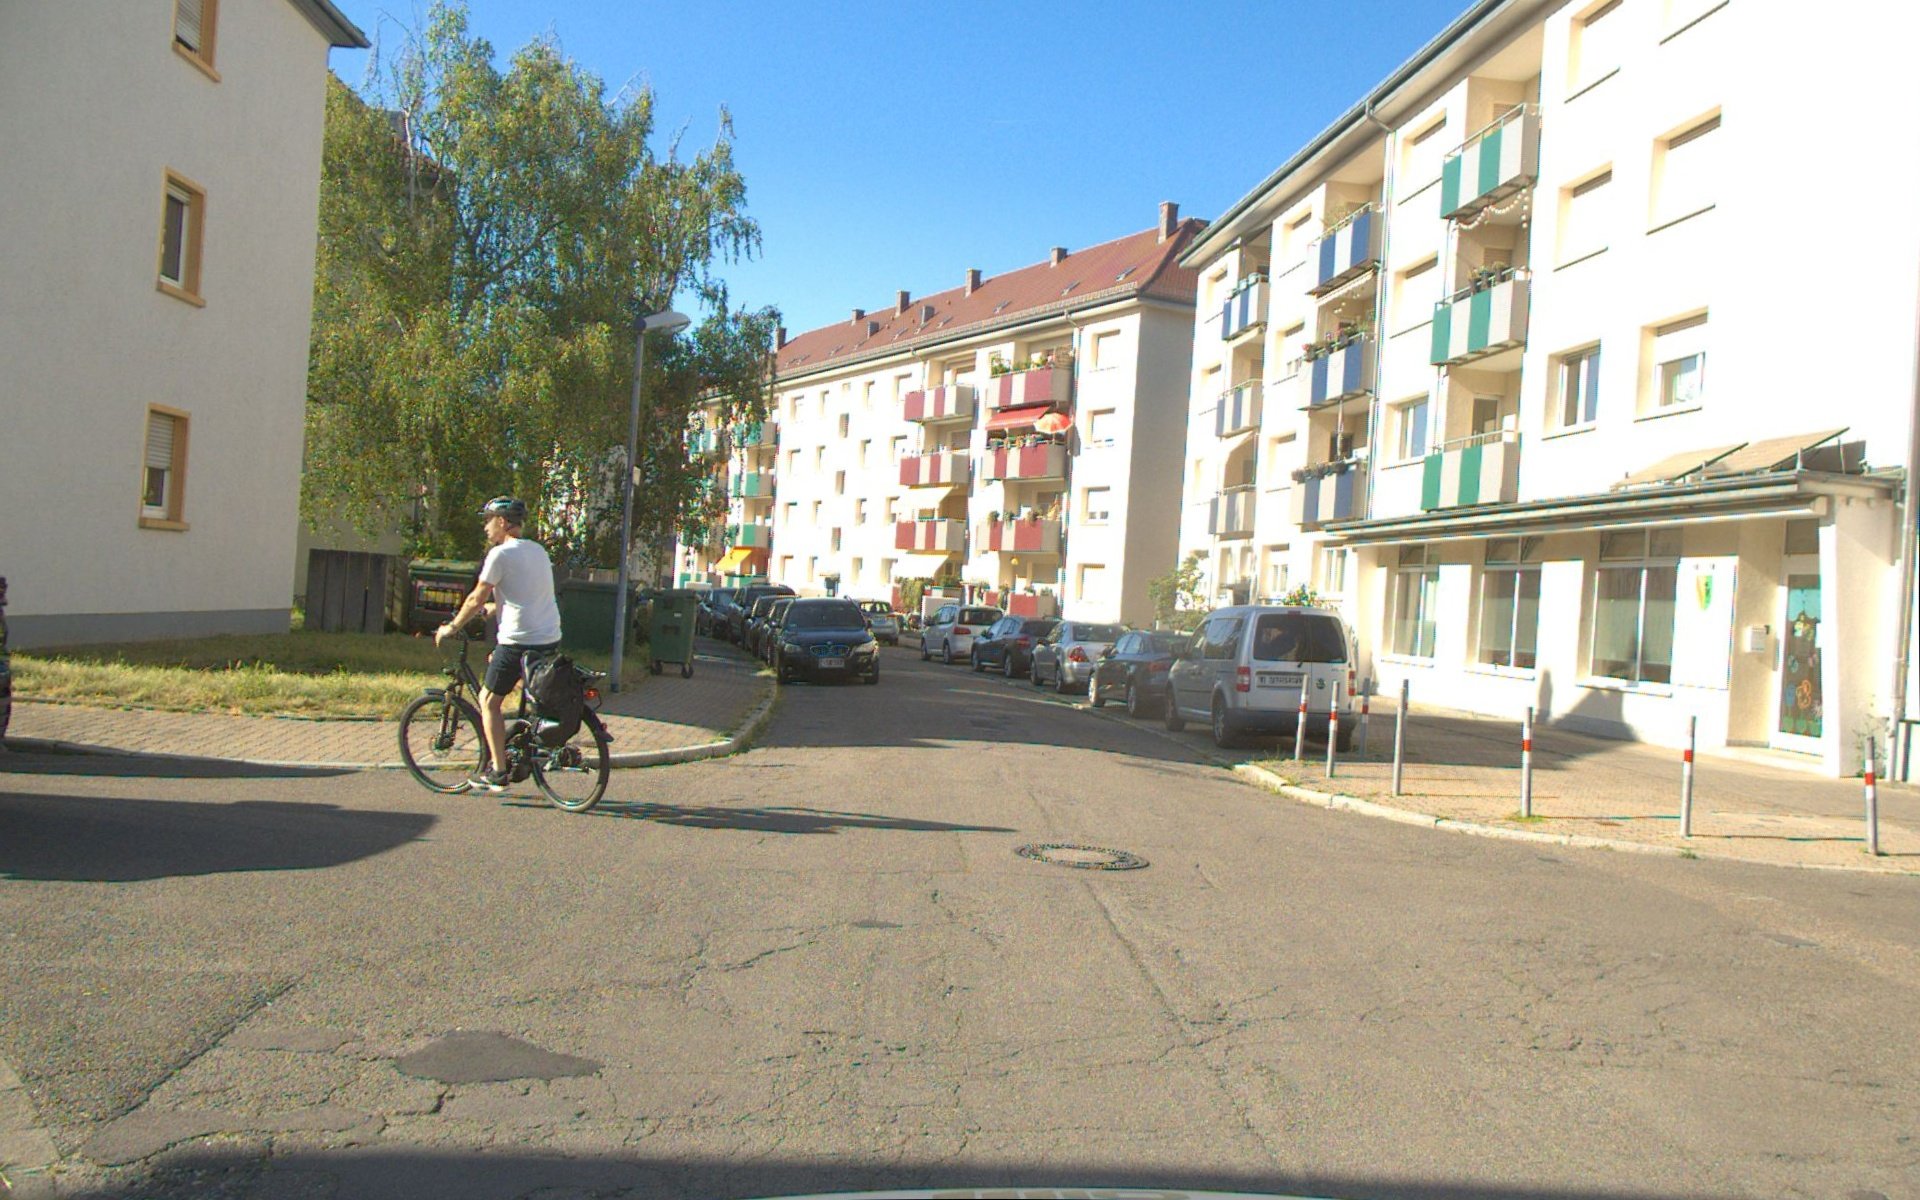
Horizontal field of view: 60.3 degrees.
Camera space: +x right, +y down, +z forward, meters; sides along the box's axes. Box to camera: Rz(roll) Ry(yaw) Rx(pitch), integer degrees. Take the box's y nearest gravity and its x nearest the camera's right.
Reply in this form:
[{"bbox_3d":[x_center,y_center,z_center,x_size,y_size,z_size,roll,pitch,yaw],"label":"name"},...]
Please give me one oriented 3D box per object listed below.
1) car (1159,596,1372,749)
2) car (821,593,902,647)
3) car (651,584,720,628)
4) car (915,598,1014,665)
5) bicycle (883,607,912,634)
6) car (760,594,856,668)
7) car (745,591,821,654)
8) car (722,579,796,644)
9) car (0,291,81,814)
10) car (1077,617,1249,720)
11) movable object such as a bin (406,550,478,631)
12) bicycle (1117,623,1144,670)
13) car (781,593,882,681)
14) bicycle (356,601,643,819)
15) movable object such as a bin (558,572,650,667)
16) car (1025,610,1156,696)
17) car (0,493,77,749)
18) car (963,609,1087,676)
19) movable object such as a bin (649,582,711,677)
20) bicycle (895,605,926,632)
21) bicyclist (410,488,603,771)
[{"bbox_3d":[4.054,0.904,22.620,1.713,1.856,4.125,1,0,-7],"label":"car"},{"bbox_3d":[-3.554,0.687,58.998,1.740,1.664,4.017,2,1,-21],"label":"car"},{"bbox_3d":[-10.219,0.194,61.319,1.669,1.413,4.131,4,0,-21],"label":"car"},{"bbox_3d":[0.068,0.849,46.742,1.666,1.684,4.373,3,0,-15],"label":"car"},{"bbox_3d":[-2.558,0.815,67.797,0.491,1.037,1.828,2,0,-24],"label":"bicycle"},{"bbox_3d":[-3.346,0.631,35.750,1.648,1.468,4.269,1,0,-11],"label":"car"},{"bbox_3d":[-4.409,0.517,40.721,1.527,1.468,3.957,1,0,-11],"label":"car"},{"bbox_3d":[-5.721,0.293,46.762,1.529,1.744,4.321,1,0,-14],"label":"car"},{"bbox_3d":[-7.634,-0.399,7.676,5.824,2.589,1.999,4,0,-4],"label":"car"},{"bbox_3d":[3.375,1.112,28.376,1.647,1.431,4.535,4,0,-10],"label":"car"},{"bbox_3d":[-9.798,-0.181,31.326,1.040,1.460,1.002,2,0,-5],"label":"movable object such as a bin"},{"bbox_3d":[4.730,1.287,45.868,0.504,1.224,1.761,2,0,-1],"label":"bicycle"},{"bbox_3d":[-2.455,0.627,30.640,1.646,1.478,4.613,1,0,-7],"label":"car"},{"bbox_3d":[-2.781,0.623,9.915,1.780,1.134,0.627,2,-2,36],"label":"bicycle"},{"bbox_3d":[-5.686,0.312,26.449,1.195,1.404,0.767,5,-1,0],"label":"movable object such as a bin"},{"bbox_3d":[2.625,1.048,34.377,1.647,1.472,4.715,4,0,-8],"label":"car"},{"bbox_3d":[-8.547,0.027,10.895,4.399,1.693,1.718,3,-2,-3],"label":"car"},{"bbox_3d":[1.502,0.994,40.168,1.666,1.456,4.668,2,0,-15],"label":"car"},{"bbox_3d":[-4.403,0.447,26.093,0.760,1.417,1.416,4,0,-4],"label":"movable object such as a bin"},{"bbox_3d":[-2.067,0.759,68.342,0.609,0.995,1.882,1,3,-24],"label":"bicycle"},{"bbox_3d":[-2.714,0.162,9.895,0.889,1.606,0.596,3,-1,35],"label":"bicyclist"}]
